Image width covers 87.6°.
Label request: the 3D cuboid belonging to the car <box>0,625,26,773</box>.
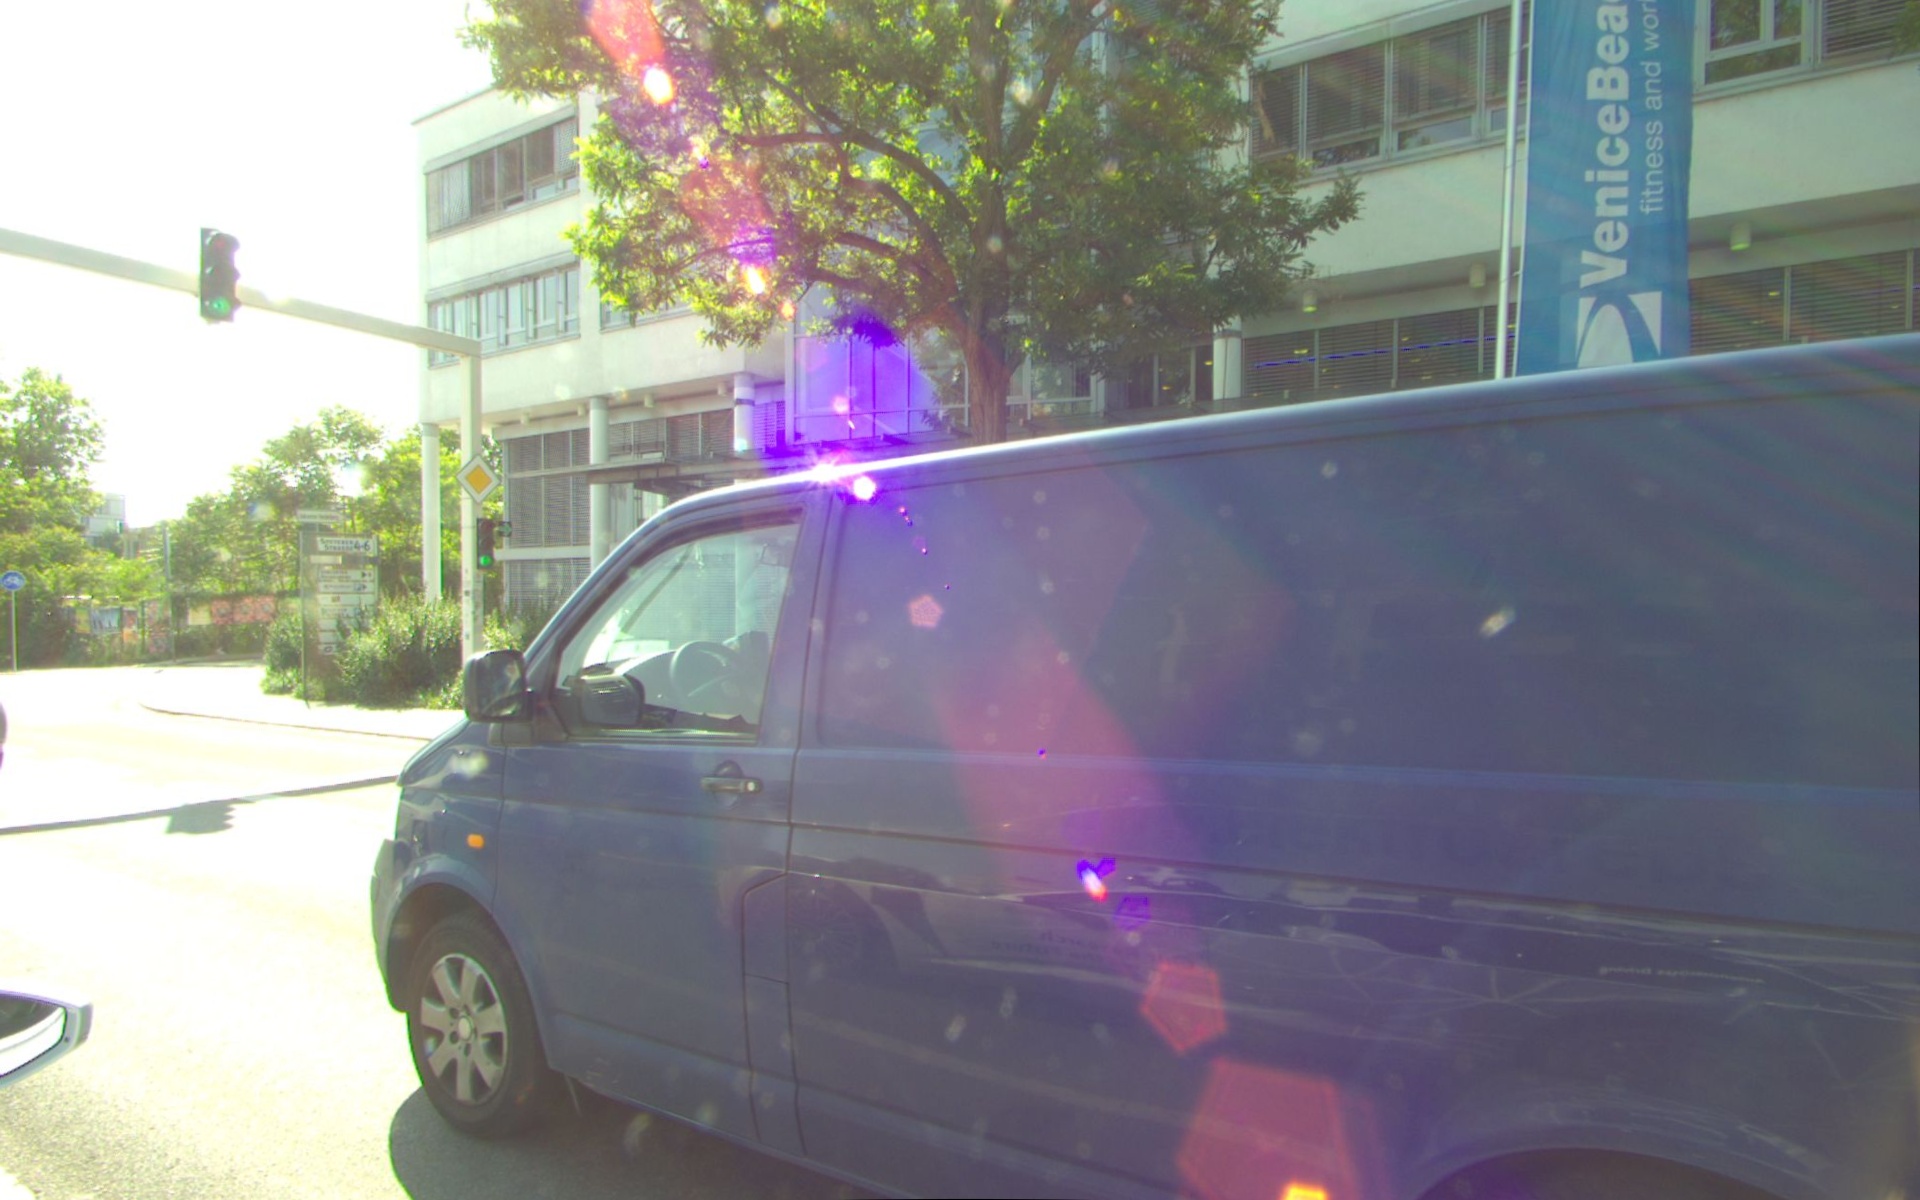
[{"bbox_3d":[-11.410,1.008,10.228,3.943,1.448,1.803,-1,-1,32],"label":"car"}]

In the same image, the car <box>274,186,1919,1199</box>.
[{"bbox_3d":[0.240,0.539,2.944,4.822,1.973,1.989,-1,-1,32],"label":"car"}]

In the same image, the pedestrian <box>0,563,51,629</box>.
[{"bbox_3d":[-29.438,-0.115,31.466,1.024,2.040,1.025,0,0,32],"label":"pedestrian"}]
